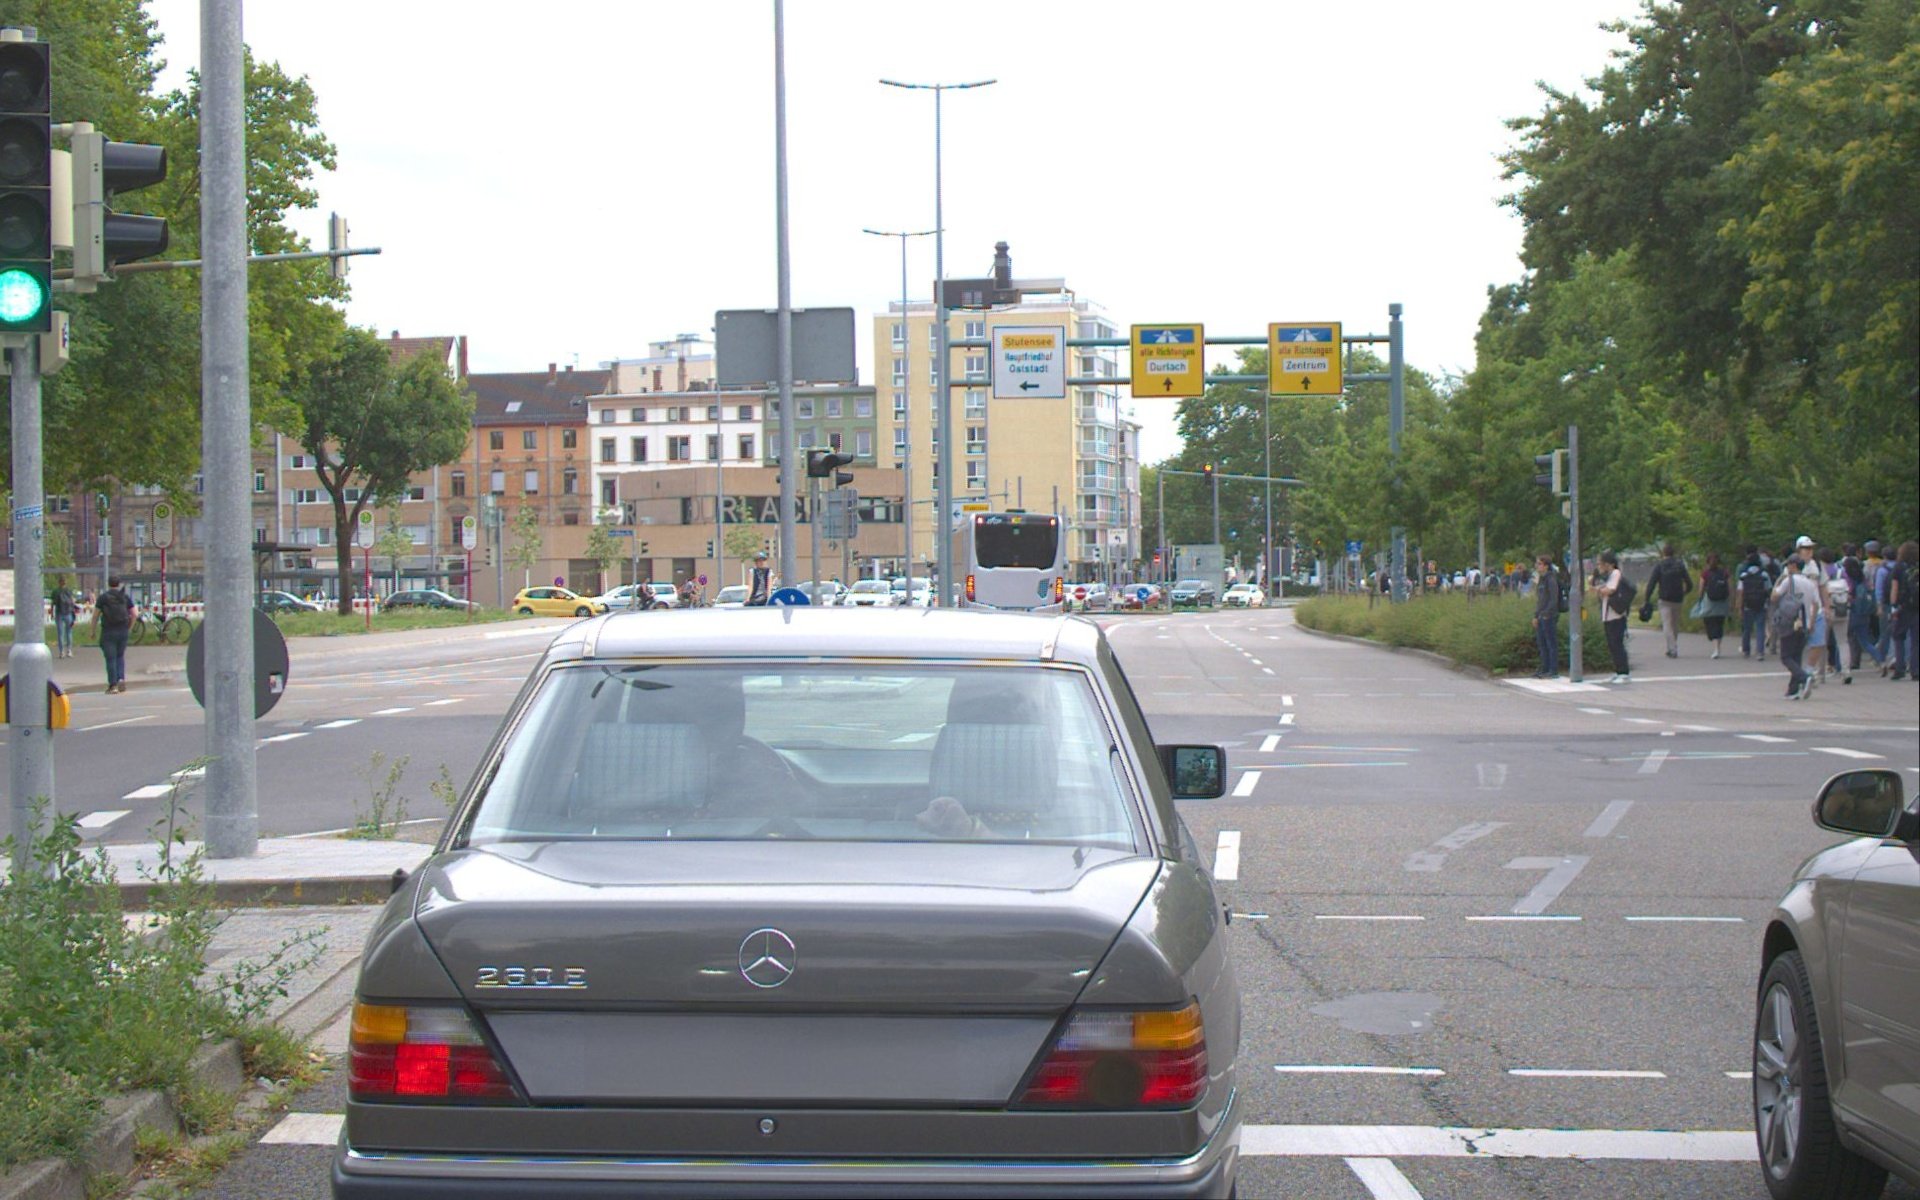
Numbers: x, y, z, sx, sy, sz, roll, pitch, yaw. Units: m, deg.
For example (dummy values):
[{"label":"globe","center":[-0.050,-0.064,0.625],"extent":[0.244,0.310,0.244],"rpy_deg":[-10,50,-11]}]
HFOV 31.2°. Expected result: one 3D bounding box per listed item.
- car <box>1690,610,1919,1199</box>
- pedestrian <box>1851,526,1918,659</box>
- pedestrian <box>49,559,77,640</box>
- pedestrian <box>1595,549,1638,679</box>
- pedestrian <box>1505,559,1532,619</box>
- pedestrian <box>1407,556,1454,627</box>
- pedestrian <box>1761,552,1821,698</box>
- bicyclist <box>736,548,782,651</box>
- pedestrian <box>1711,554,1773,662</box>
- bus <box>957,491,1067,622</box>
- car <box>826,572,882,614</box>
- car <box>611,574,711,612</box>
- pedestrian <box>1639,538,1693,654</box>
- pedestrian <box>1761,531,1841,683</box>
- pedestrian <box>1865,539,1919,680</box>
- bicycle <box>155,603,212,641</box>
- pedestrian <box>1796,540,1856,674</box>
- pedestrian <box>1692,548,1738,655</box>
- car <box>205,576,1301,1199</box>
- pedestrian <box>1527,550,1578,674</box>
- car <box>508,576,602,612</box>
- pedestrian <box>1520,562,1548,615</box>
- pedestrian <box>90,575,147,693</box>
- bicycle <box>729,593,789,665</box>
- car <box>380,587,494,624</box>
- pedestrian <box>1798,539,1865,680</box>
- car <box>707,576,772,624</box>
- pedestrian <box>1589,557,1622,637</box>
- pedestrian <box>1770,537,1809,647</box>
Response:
[{"label":"car","center":[2.750,0.763,6.760],"extent":[1.724,1.452,3.736],"rpy_deg":[-1,0,-2]},{"label":"pedestrian","center":[12.244,-0.097,45.542],"extent":[0.656,1.739,0.780],"rpy_deg":[-1,0,1]},{"label":"pedestrian","center":[-18.531,-0.015,71.026],"extent":[0.560,1.662,0.627],"rpy_deg":[0,-1,-14]},{"label":"pedestrian","center":[8.764,0.185,45.919],"extent":[0.454,1.729,0.637],"rpy_deg":[0,0,1]},{"label":"pedestrian","center":[16.014,-0.309,98.535],"extent":[0.647,1.707,0.561],"rpy_deg":[-1,0,18]},{"label":"pedestrian","center":[12.257,-0.223,89.577],"extent":[0.935,1.824,0.885],"rpy_deg":[-1,0,30]},{"label":"pedestrian","center":[9.667,0.290,40.000],"extent":[0.545,1.681,0.637],"rpy_deg":[0,0,1]},{"label":"bicyclist","center":[-3.074,-0.012,52.668],"extent":[0.572,1.568,0.699],"rpy_deg":[0,0,7]},{"label":"pedestrian","center":[11.788,0.118,51.847],"extent":[0.775,1.597,0.812],"rpy_deg":[-1,0,3]},{"label":"bus","center":[1.433,-1.167,93.080],"extent":[2.831,3.379,8.182],"rpy_deg":[0,1,1]},{"label":"car","center":[-3.804,-0.263,123.719],"extent":[1.801,1.484,4.289],"rpy_deg":[-1,0,1]},{"label":"car","center":[-13.345,-0.320,153.316],"extent":[4.153,1.644,1.647],"rpy_deg":[-1,0,-20]},{"label":"pedestrian","center":[11.195,-0.071,54.550],"extent":[0.693,1.815,0.954],"rpy_deg":[-1,0,3]},{"label":"pedestrian","center":[10.347,0.084,42.306],"extent":[0.644,1.846,0.829],"rpy_deg":[1,0,-11]},{"label":"pedestrian","center":[11.742,0.108,42.961],"extent":[0.656,1.739,0.780],"rpy_deg":[-1,0,1]},{"label":"bicycle","center":[-19.222,0.534,85.135],"extent":[0.470,0.915,2.338],"rpy_deg":[-1,0,11]},{"label":"pedestrian","center":[11.356,0.085,45.079],"extent":[0.581,1.739,0.789],"rpy_deg":[-1,0,1]},{"label":"pedestrian","center":[11.743,0.024,53.486],"extent":[0.555,1.649,0.753],"rpy_deg":[-1,0,3]},{"label":"car","center":[-0.356,0.699,7.643],"extent":[1.761,1.484,4.171],"rpy_deg":[-1,0,-1]},{"label":"pedestrian","center":[8.345,0.163,48.415],"extent":[0.601,1.729,0.654],"rpy_deg":[0,0,1]},{"label":"car","center":[-17.310,-0.265,147.094],"extent":[3.856,1.512,1.660],"rpy_deg":[1,0,-2]},{"label":"pedestrian","center":[15.835,-0.325,94.898],"extent":[0.657,1.465,0.562],"rpy_deg":[0,0,-1]},{"label":"pedestrian","center":[-12.738,0.519,52.034],"extent":[0.758,1.776,0.722],"rpy_deg":[0,-1,-21]},{"label":"bicycle","center":[-3.069,0.435,52.584],"extent":[0.573,1.052,1.926],"rpy_deg":[0,0,7]},{"label":"car","center":[-22.368,0.229,147.159],"extent":[4.669,1.470,1.660],"rpy_deg":[1,0,-2]},{"label":"pedestrian","center":[10.914,0.120,43.063],"extent":[0.624,1.739,0.780],"rpy_deg":[-1,0,1]},{"label":"car","center":[-7.082,-0.013,110.697],"extent":[1.761,1.484,4.546],"rpy_deg":[-1,0,0]},{"label":"pedestrian","center":[13.646,-0.060,72.672],"extent":[0.587,1.677,0.748],"rpy_deg":[-1,0,3]},{"label":"pedestrian","center":[13.334,-0.129,55.289],"extent":[0.484,1.757,0.664],"rpy_deg":[-1,0,3]}]
